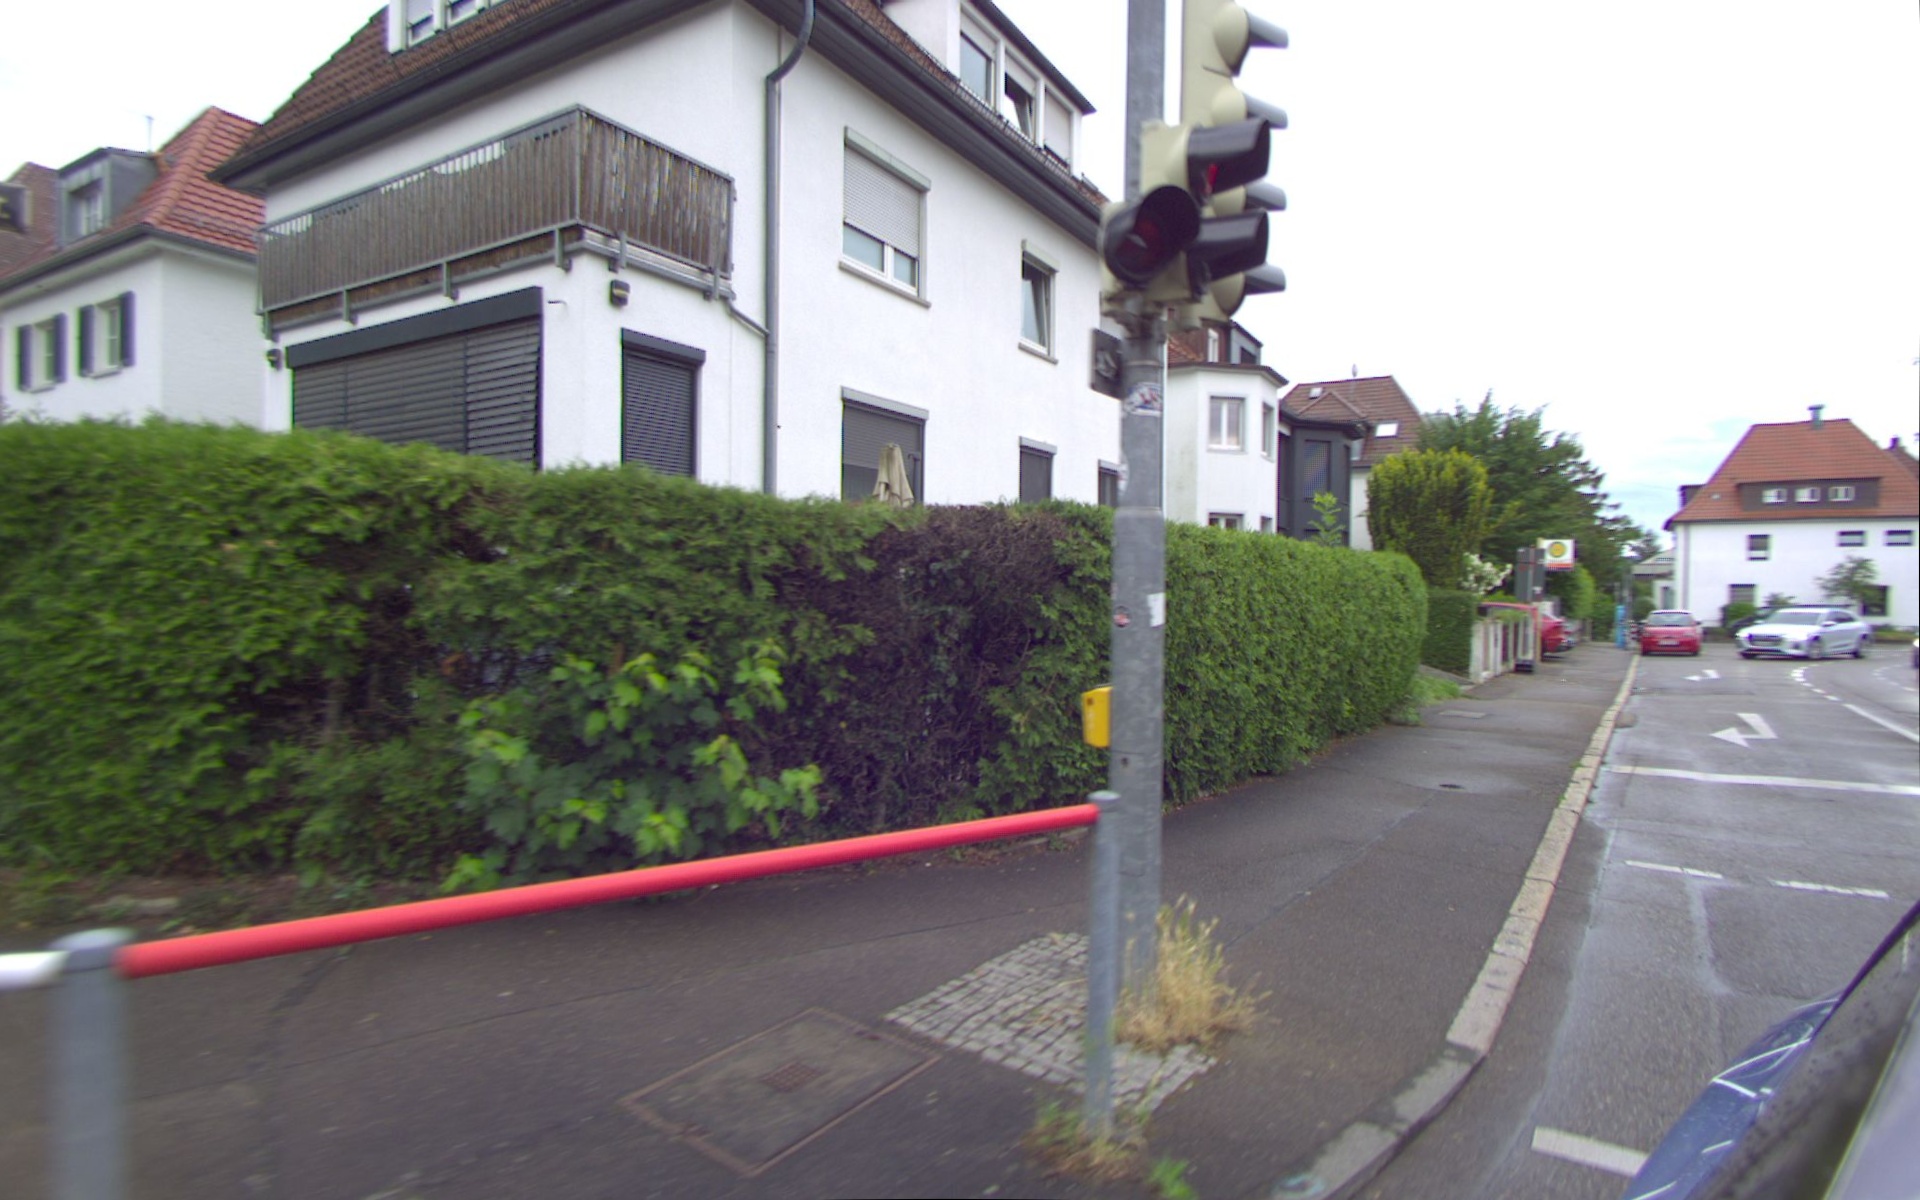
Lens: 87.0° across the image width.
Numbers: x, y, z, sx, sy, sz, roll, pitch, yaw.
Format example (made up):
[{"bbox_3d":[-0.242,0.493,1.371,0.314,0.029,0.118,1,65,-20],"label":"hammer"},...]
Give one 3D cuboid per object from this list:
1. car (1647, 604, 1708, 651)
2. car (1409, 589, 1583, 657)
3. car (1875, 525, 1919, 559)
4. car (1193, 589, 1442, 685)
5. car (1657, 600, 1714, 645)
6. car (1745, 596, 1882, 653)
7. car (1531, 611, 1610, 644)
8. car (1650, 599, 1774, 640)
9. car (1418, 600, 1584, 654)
[{"bbox_3d":[25.141,0.928,35.414,1.607,1.557,3.492,-1,-1,37],"label":"car"},{"bbox_3d":[15.694,0.635,29.841,4.018,1.772,1.996,2,0,8],"label":"car"},{"bbox_3d":[55.698,-3.277,57.797,1.905,1.831,4.749,0,4,-35],"label":"car"},{"bbox_3d":[6.081,0.589,17.369,3.731,1.406,1.595,2,-1,35],"label":"car"},{"bbox_3d":[28.841,0.880,40.334,1.738,1.694,4.589,-1,-1,35],"label":"car"},{"bbox_3d":[26.865,0.728,31.862,3.810,1.720,1.800,0,0,-24],"label":"car"},{"bbox_3d":[36.867,1.631,61.120,3.974,1.883,1.749,0,-1,35],"label":"car"},{"bbox_3d":[39.821,1.000,53.715,1.903,1.972,4.925,0,1,-34],"label":"car"},{"bbox_3d":[17.242,0.832,32.383,4.525,1.434,1.978,3,1,30],"label":"car"}]
